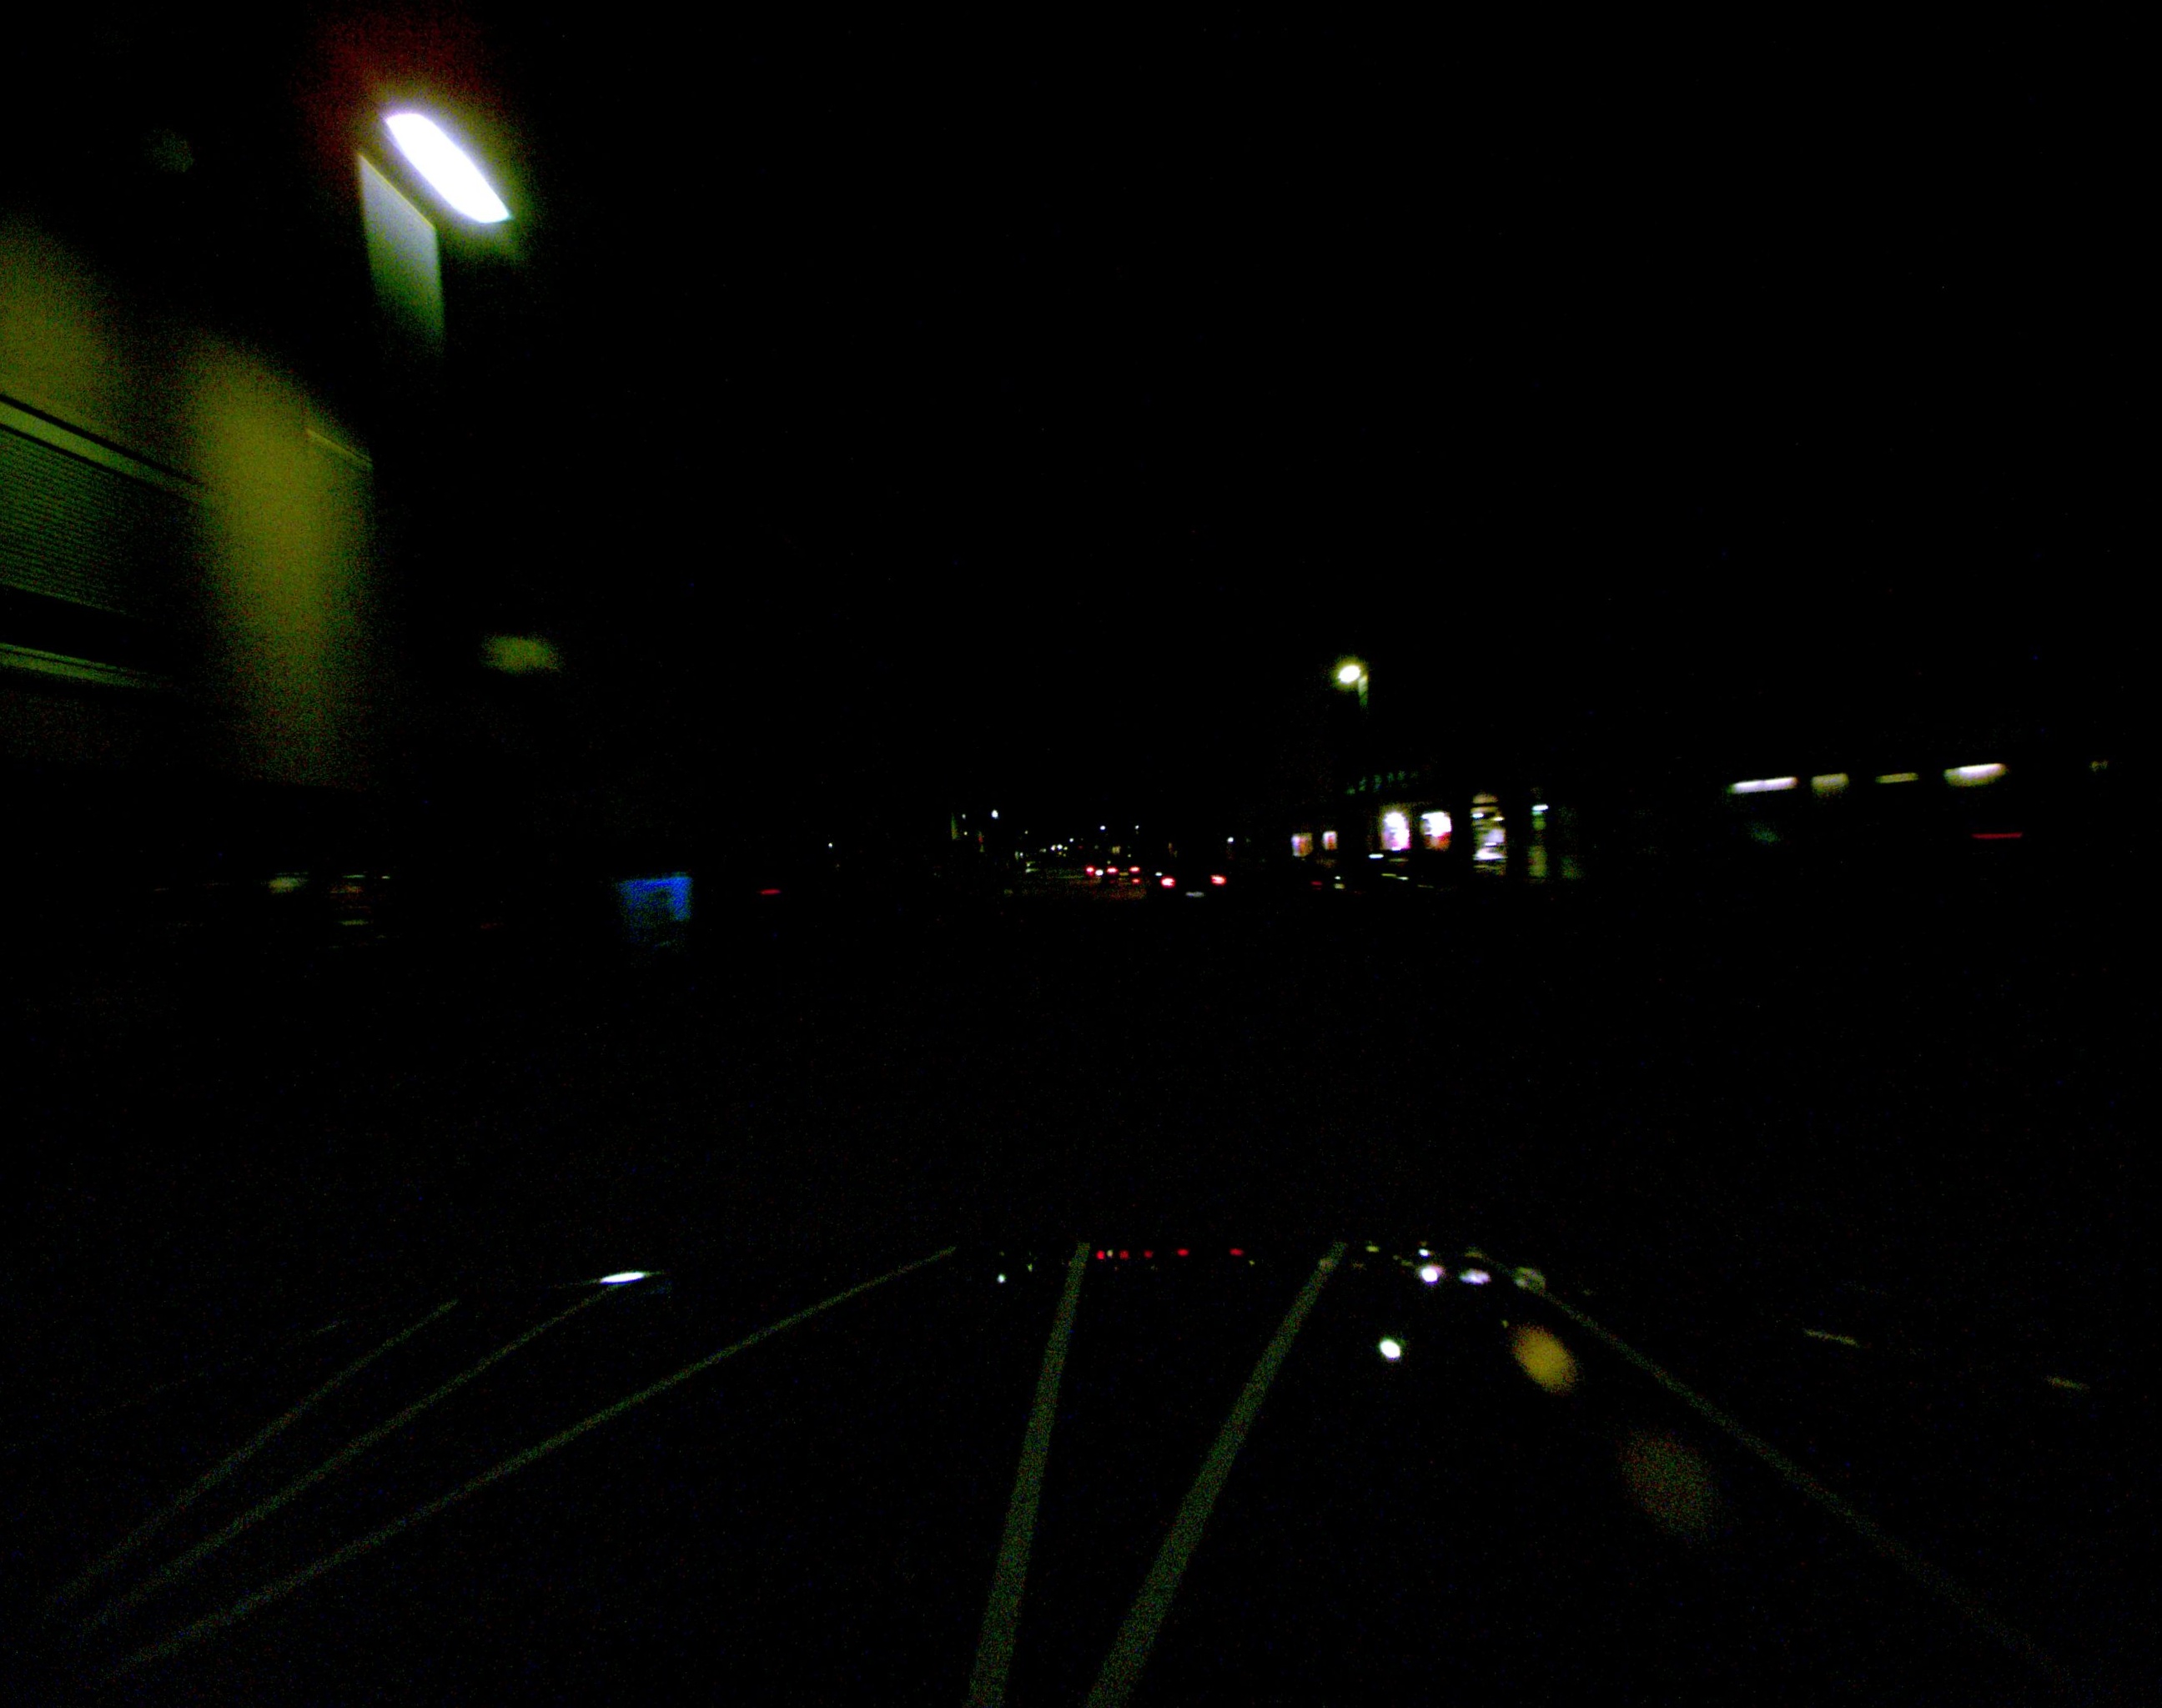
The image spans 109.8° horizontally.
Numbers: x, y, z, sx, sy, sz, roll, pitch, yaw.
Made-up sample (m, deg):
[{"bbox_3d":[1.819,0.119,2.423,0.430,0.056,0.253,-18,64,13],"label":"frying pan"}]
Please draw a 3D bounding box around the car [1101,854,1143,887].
[{"bbox_3d":[2.154,0.854,40.937,1.752,1.635,4.306,-2,0,-3],"label":"car"}]

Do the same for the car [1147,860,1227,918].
[{"bbox_3d":[2.935,0.918,21.674,1.721,1.419,3.815,-2,0,0],"label":"car"}]

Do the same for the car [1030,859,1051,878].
[{"bbox_3d":[-3.274,1.147,62.164,1.606,1.474,3.698,-2,0,-3],"label":"car"}]

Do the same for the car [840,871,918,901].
[{"bbox_3d":[-9.833,1.545,37.163,3.404,1.275,1.644,2,0,-3],"label":"car"}]

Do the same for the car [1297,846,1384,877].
[{"bbox_3d":[13.067,0.380,38.375,3.833,1.408,1.653,-2,0,1],"label":"car"}]

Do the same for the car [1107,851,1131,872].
[{"bbox_3d":[3.382,0.663,68.019,1.814,1.637,3.803,-4,0,-1],"label":"car"}]

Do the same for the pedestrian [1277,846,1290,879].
[{"bbox_3d":[10.138,0.424,38.044,0.528,1.579,0.667,-2,0,19],"label":"pedestrian"}]

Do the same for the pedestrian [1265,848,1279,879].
[{"bbox_3d":[9.666,0.480,38.482,0.528,1.579,0.667,-2,0,21],"label":"pedestrian"}]

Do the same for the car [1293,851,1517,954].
[{"bbox_3d":[5.545,0.737,13.848,1.901,1.411,4.930,-4,0,0],"label":"car"}]

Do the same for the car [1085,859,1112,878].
[{"bbox_3d":[1.294,1.083,57.067,1.822,1.271,3.916,-2,0,-1],"label":"car"}]

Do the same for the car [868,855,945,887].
[{"bbox_3d":[-9.671,0.942,42.377,3.916,1.578,1.644,2,0,-3],"label":"car"}]
